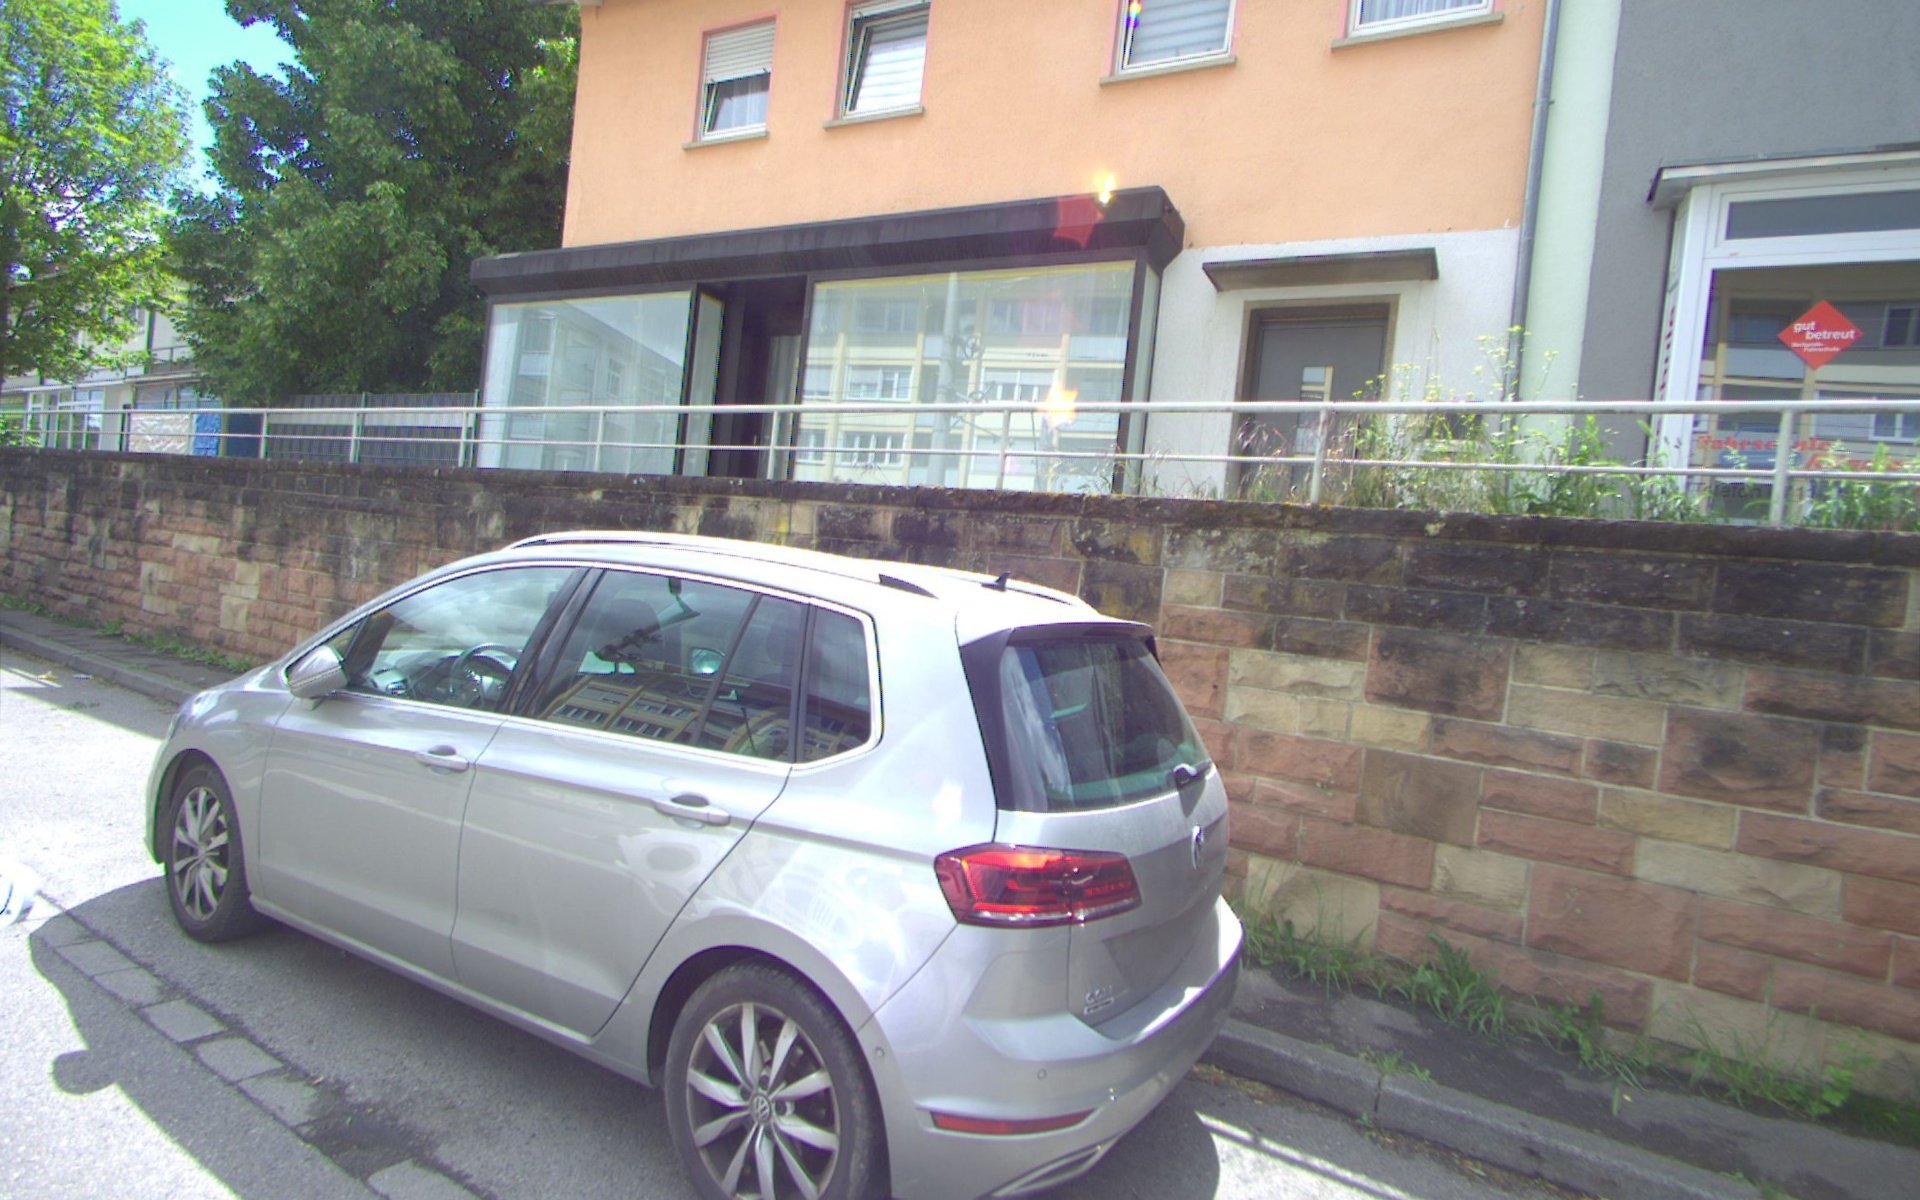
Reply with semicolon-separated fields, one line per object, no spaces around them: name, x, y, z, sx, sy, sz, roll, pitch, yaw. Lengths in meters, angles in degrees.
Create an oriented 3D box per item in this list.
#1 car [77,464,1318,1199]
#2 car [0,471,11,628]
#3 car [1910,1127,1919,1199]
car;-1.142;0.536;3.612;4.177;1.638;1.791;7;1;31
car;-11.123;-0.600;9.750;3.935;1.660;1.851;6;1;33
car;3.746;1.072;0.495;4.373;1.639;1.791;7;2;31
